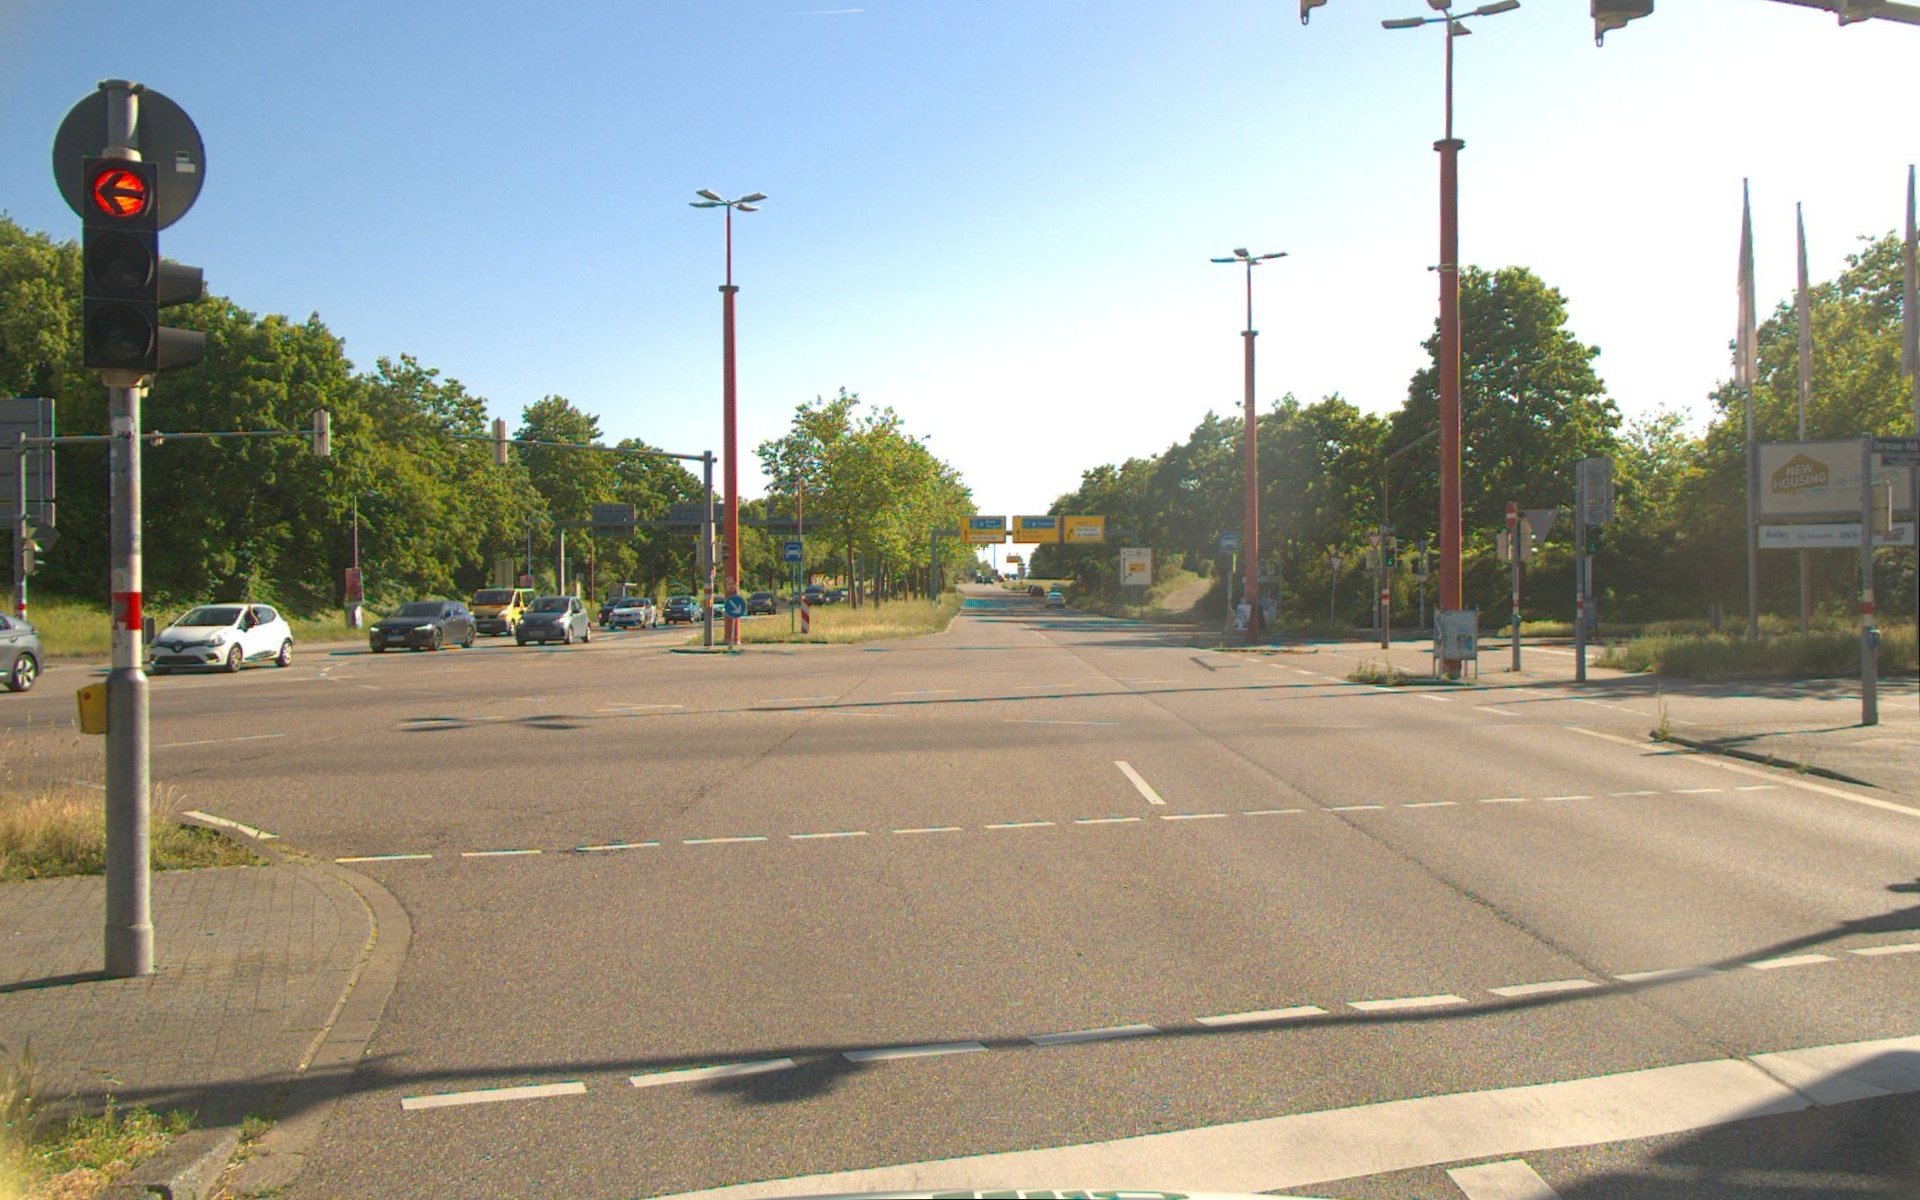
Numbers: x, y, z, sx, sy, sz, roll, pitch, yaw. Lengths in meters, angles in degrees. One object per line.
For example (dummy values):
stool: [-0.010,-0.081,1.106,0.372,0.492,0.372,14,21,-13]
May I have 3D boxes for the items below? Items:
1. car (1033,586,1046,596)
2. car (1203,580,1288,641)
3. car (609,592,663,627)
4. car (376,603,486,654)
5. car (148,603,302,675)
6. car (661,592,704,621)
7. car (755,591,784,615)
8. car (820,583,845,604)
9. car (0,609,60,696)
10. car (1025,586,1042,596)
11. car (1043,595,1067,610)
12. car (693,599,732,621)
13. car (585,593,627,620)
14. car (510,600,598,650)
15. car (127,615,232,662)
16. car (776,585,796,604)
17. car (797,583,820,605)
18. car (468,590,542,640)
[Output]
car: [10.641,-1.168,221.945,1.702,1.365,3.082,0,0,1]
car: [9.354,0.315,53.925,1.953,1.920,4.000,0,0,21]
car: [-15.417,0.459,78.794,1.668,1.624,4.001,1,0,2]
car: [-15.367,0.800,48.322,1.595,1.392,4.797,0,0,1]
car: [-16.127,0.815,36.474,1.572,1.485,3.951,0,0,1]
car: [-15.527,0.363,92.654,1.668,1.586,3.804,1,0,1]
car: [-14.245,0.213,123.772,1.592,1.769,4.001,0,0,1]
car: [-10.758,-0.539,139.688,1.622,1.778,4.001,1,0,2]
car: [-16.423,0.867,26.635,1.516,1.401,4.262,0,0,0]
car: [11.039,-1.346,248.163,1.956,1.523,3.993,1,0,-7]
car: [9.344,0.249,162.586,2.012,1.395,4.391,0,0,-1]
car: [-15.692,0.613,104.970,1.963,1.330,3.998,0,0,-2]
car: [-19.744,0.364,92.390,1.595,1.476,3.434,1,0,0]
car: [-12.698,0.774,51.941,1.666,1.446,4.000,3,0,1]
car: [-22.882,1.105,48.616,1.424,1.296,3.612,1,0,-1]
car: [-18.799,-0.554,178.790,1.963,2.049,3.998,1,0,-2]
car: [-14.662,-0.600,159.967,1.963,2.049,3.998,1,0,-2]
car: [-19.075,0.611,69.572,1.721,2.022,4.789,1,0,1]
